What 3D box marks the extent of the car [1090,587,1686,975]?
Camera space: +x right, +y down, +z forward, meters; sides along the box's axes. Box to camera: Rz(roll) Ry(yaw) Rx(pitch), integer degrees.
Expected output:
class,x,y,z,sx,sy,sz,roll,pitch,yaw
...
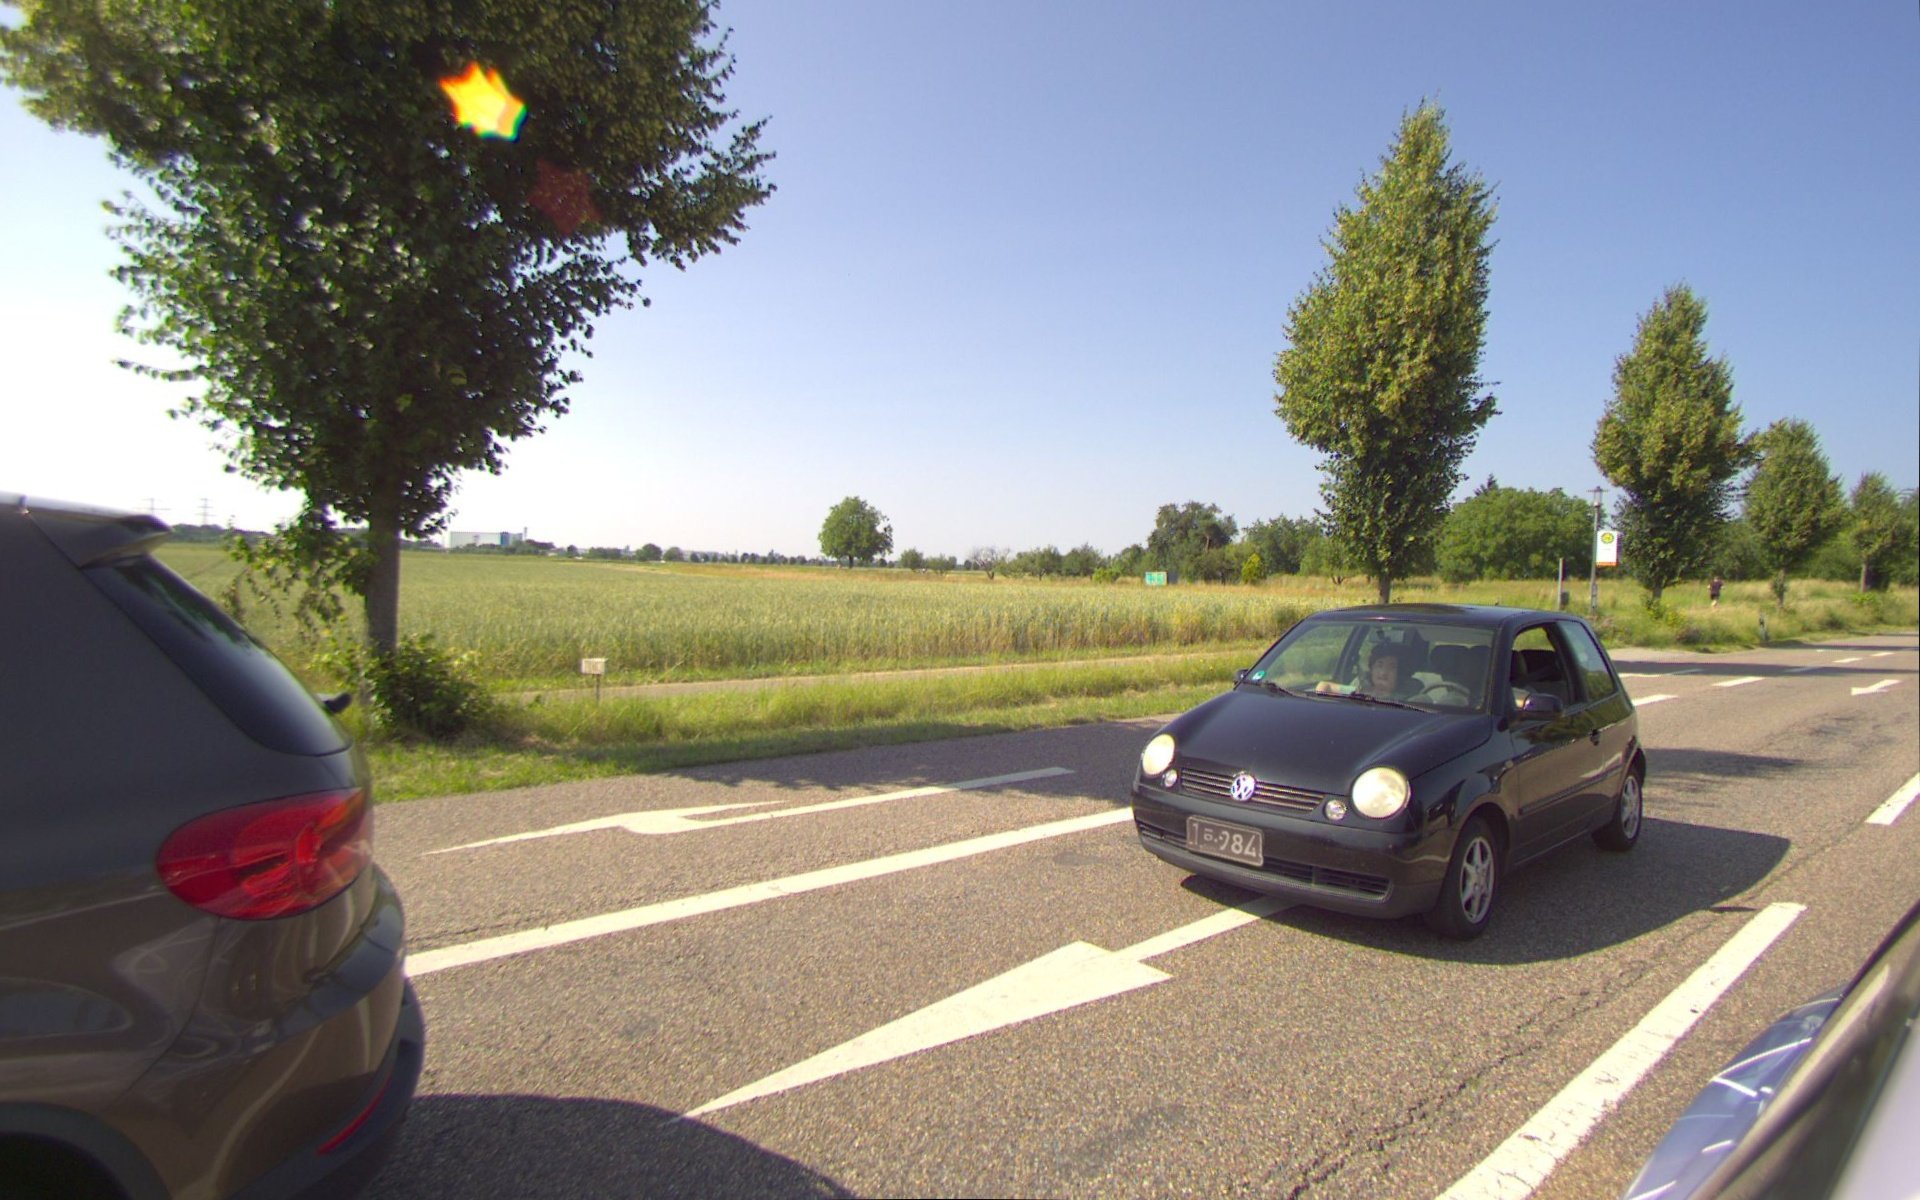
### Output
class,x,y,z,sx,sy,sz,roll,pitch,yaw
car,2.521,0.670,5.590,3.559,1.451,1.628,0,0,-41

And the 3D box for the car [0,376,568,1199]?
class,x,y,z,sx,sy,sz,roll,pitch,yaw
car,-2.789,0.548,1.100,4.075,1.676,1.758,0,0,-42

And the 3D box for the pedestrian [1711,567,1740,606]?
class,x,y,z,sx,sy,sz,roll,pitch,yaw
pedestrian,36.920,-0.650,48.801,1.174,1.862,0.903,0,2,-43
